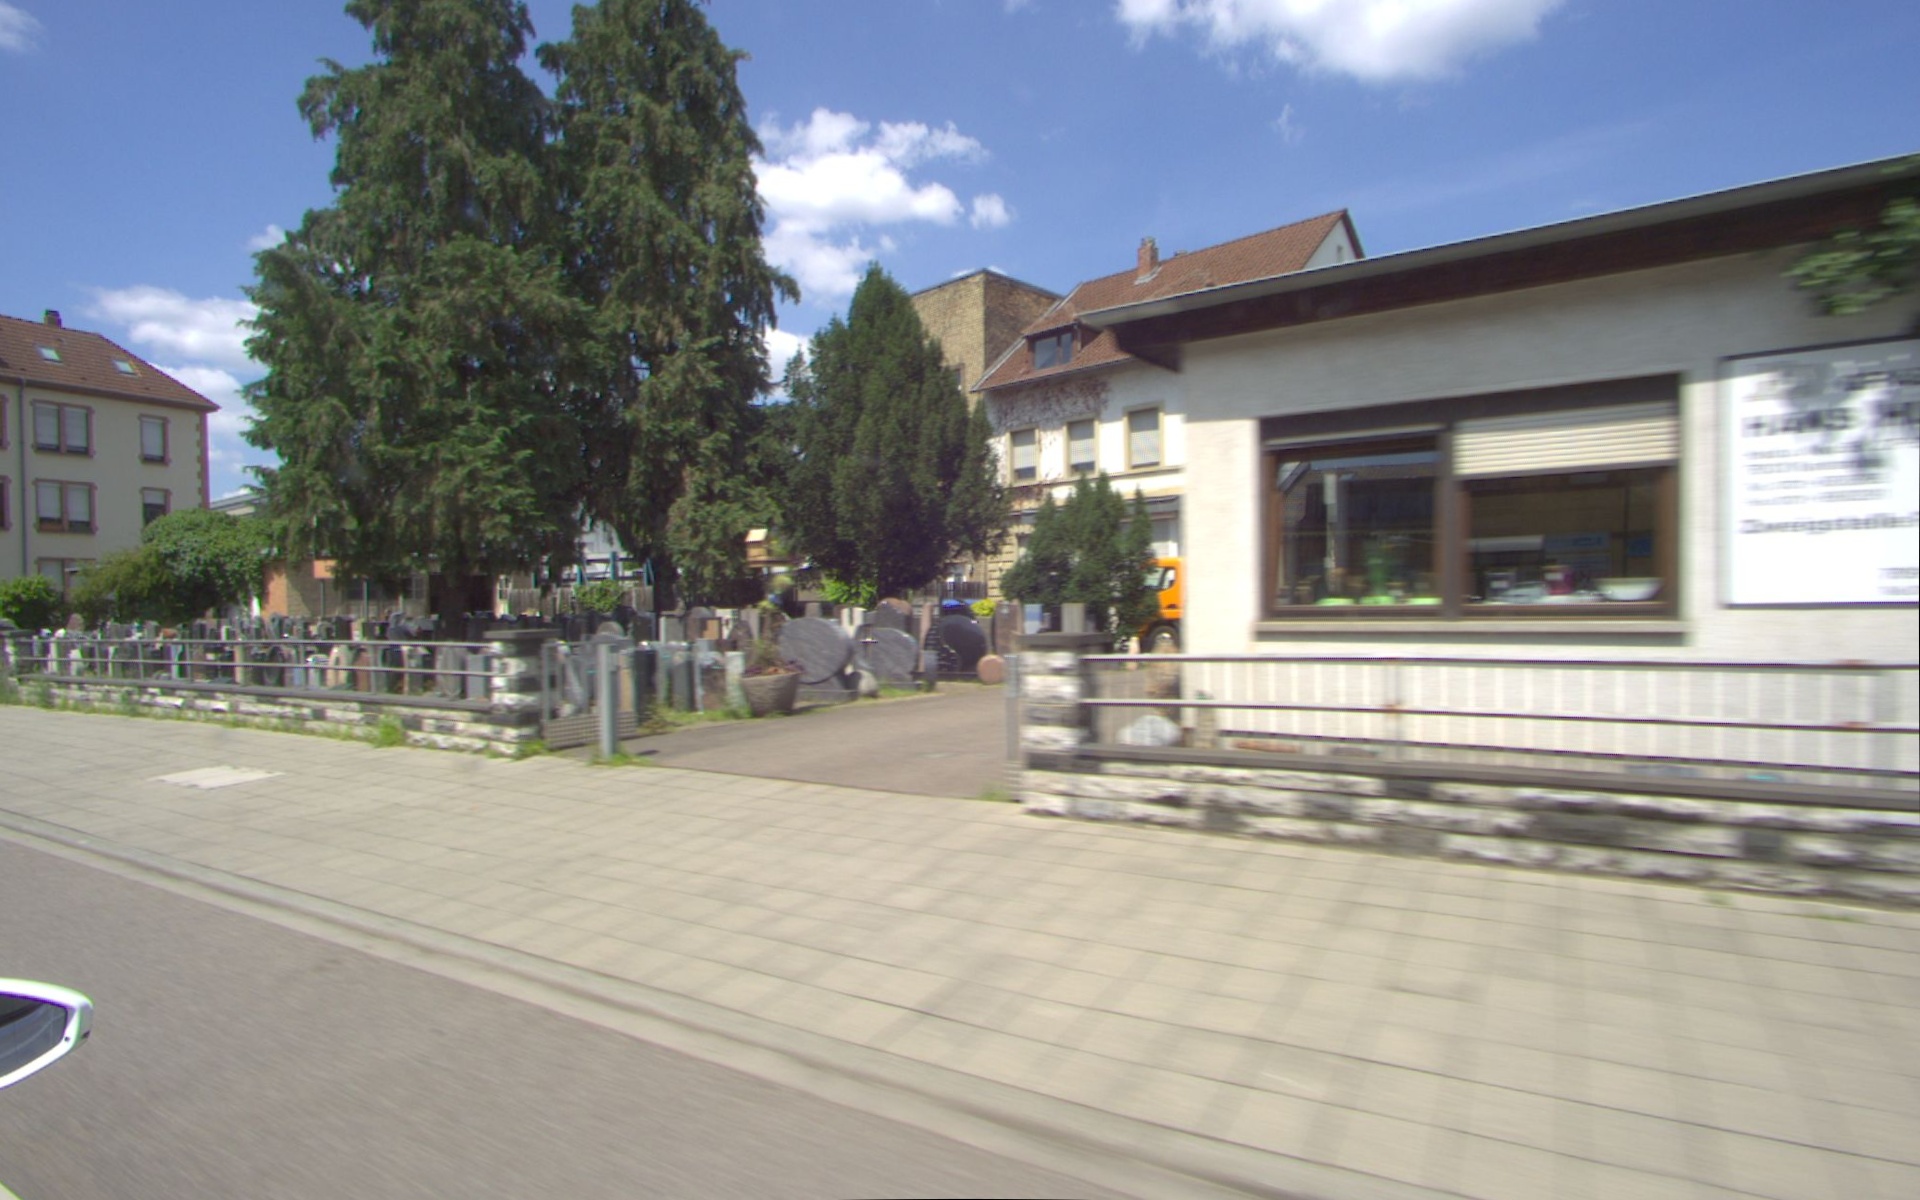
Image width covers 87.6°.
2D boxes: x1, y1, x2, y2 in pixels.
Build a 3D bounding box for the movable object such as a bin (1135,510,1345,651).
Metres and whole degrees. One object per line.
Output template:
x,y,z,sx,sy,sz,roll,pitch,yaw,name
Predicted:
5.711,-0.347,20.495,3.756,2.655,1.735,-1,2,33,movable object such as a bin
